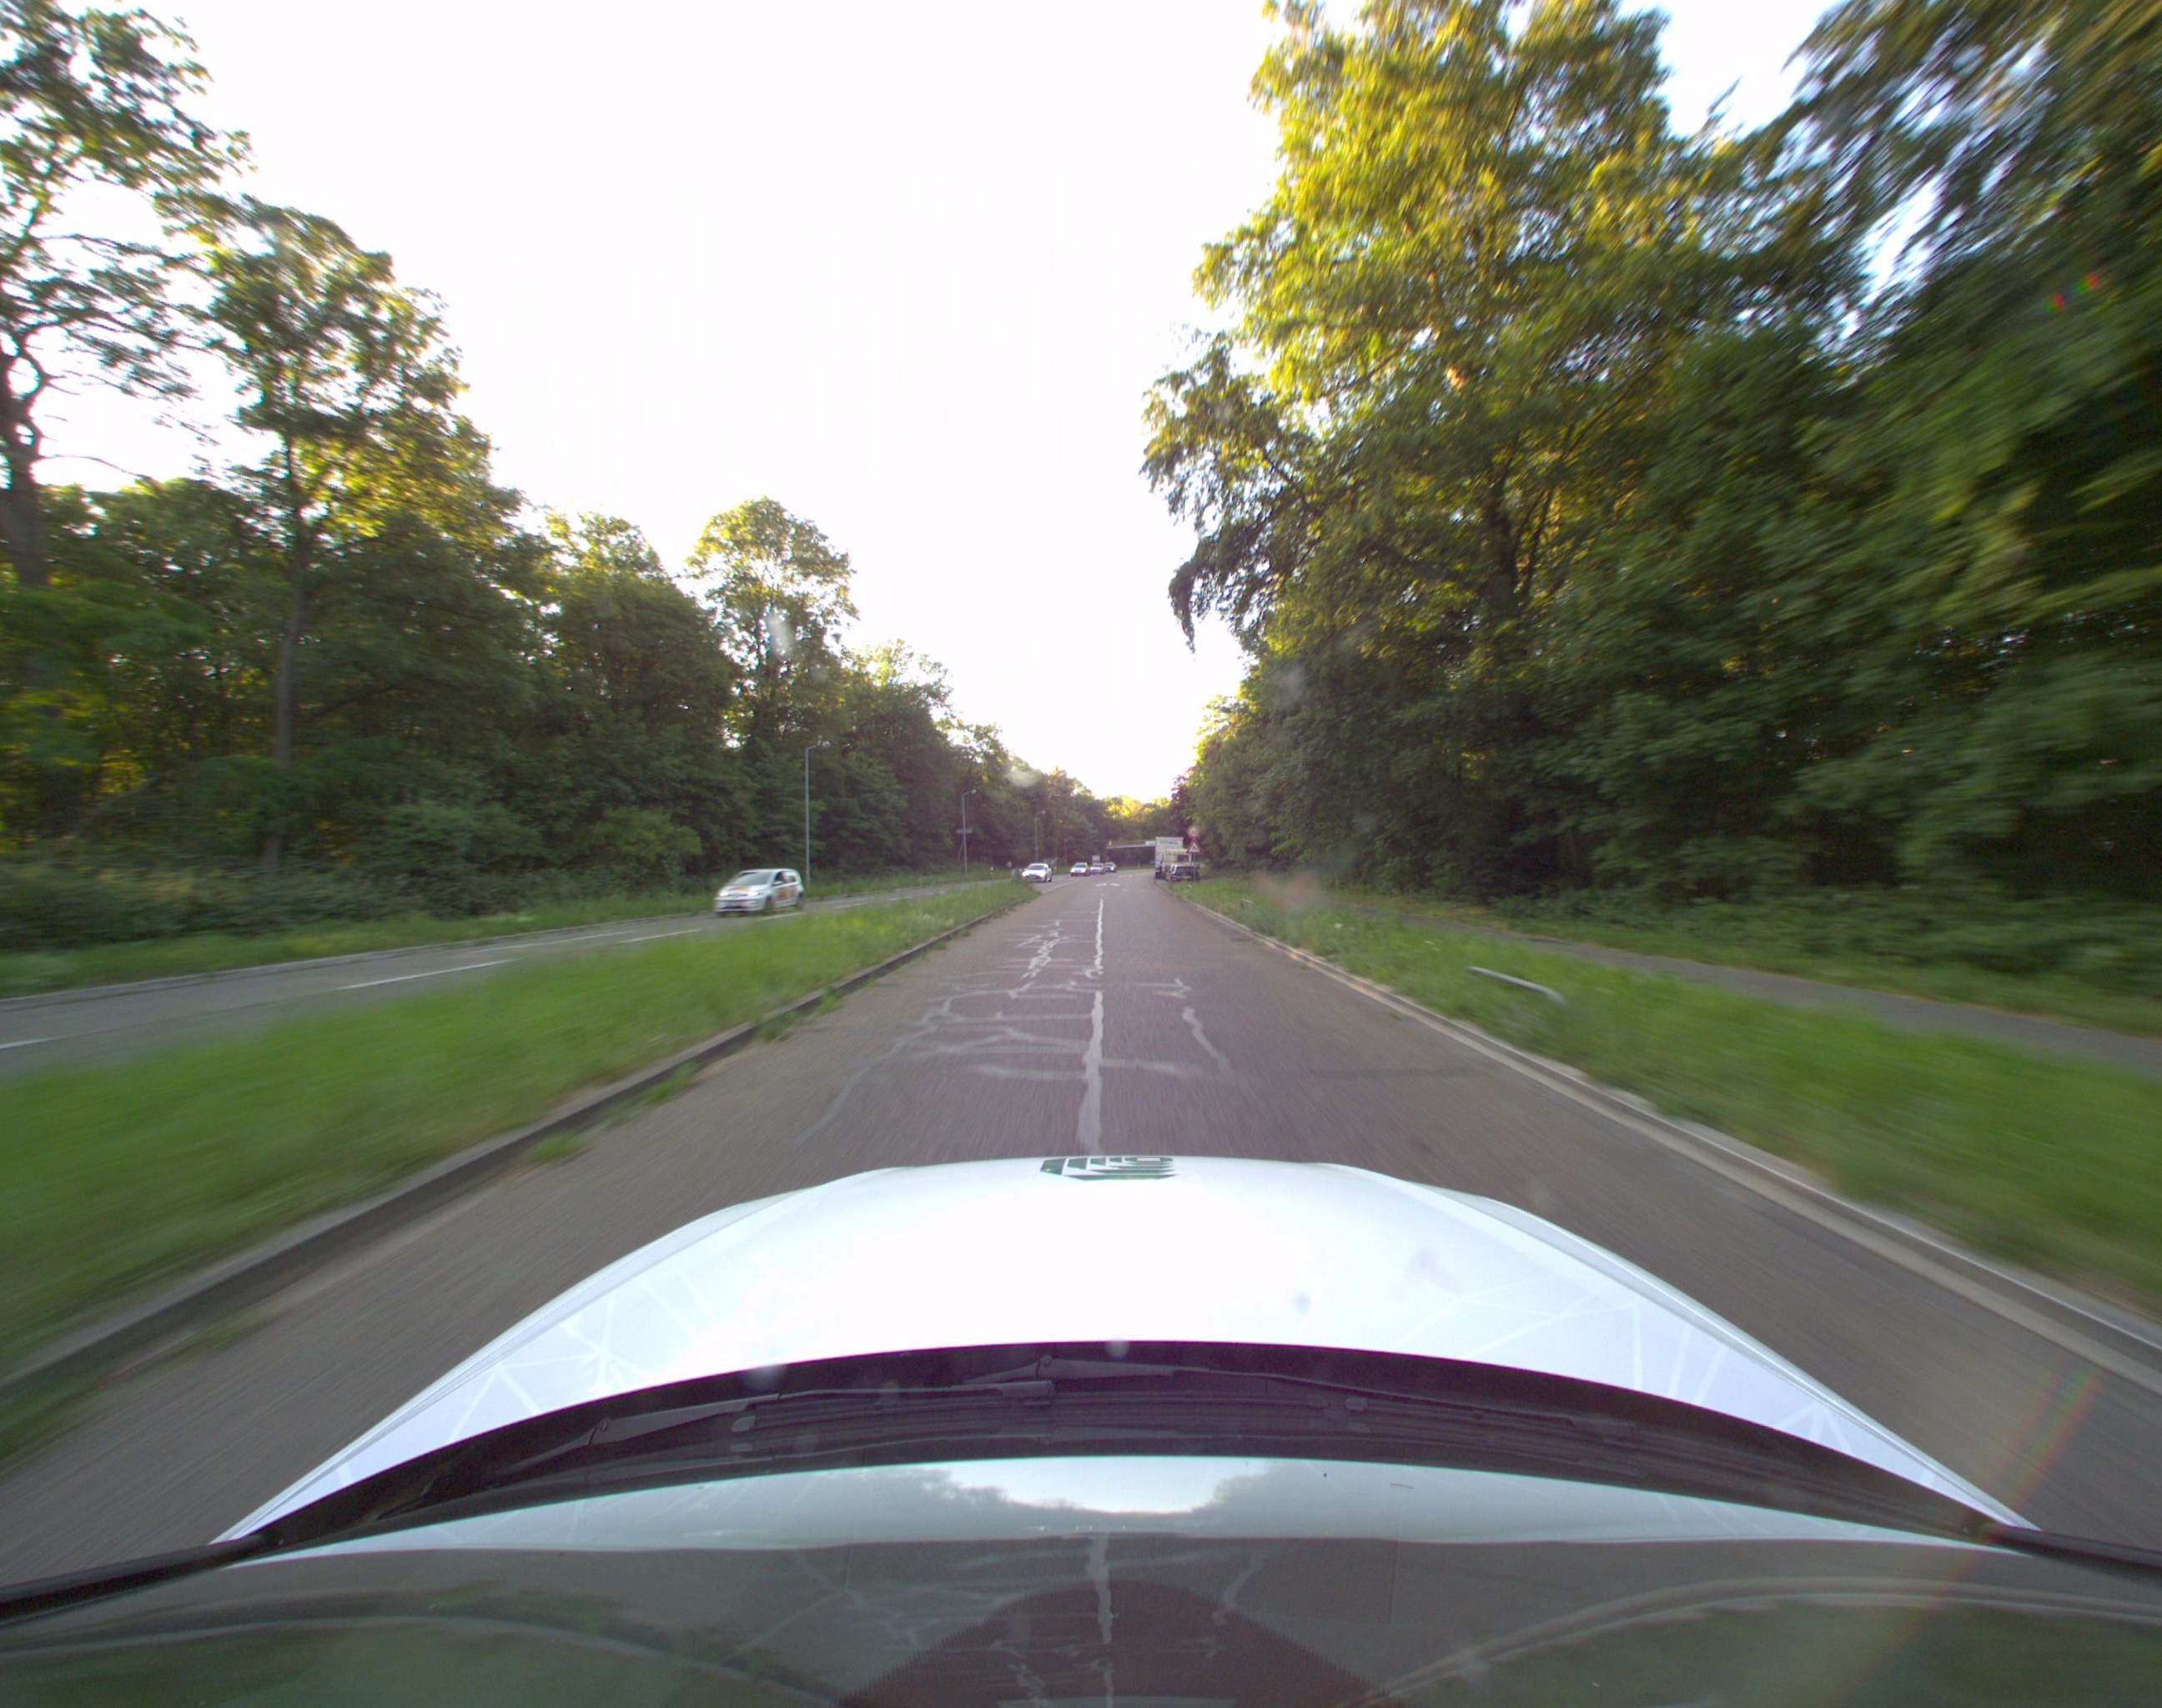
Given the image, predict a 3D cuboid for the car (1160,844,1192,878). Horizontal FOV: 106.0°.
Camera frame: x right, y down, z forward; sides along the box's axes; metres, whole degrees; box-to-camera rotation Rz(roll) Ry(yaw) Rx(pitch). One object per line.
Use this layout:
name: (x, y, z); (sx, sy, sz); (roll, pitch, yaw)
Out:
car: (8.363, 0.611, 72.275); (2.399, 2.858, 5.935); (0, -1, 2)

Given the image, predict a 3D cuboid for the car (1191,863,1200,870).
car: (24.611, 2.748, 174.795); (1.881, 1.447, 4.119); (-2, -1, 8)

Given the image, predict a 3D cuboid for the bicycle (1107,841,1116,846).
bicycle: (7.021, -2.419, 187.981); (1.832, 0.949, 0.552); (0, -1, 13)

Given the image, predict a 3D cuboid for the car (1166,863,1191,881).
car: (7.792, 1.441, 65.593); (1.691, 1.406, 4.078); (-1, -1, 2)

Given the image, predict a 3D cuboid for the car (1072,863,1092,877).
car: (0.119, 1.758, 89.818); (1.707, 1.446, 4.180); (-1, -1, 6)

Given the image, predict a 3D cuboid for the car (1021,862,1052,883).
car: (-3.434, 1.452, 63.622); (1.827, 1.507, 3.942); (-2, -2, 5)

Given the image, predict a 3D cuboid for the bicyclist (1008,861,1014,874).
bicyclist: (-8.218, 1.563, 95.326); (0.619, 1.511, 0.845); (-2, 0, -7)

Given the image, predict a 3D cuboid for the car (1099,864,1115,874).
car: (3.846, 2.182, 119.956); (1.881, 1.440, 4.779); (0, -1, 7)

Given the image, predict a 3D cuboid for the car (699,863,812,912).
car: (-10.630, 1.107, 26.928); (1.985, 1.458, 3.813); (-2, -2, 3)

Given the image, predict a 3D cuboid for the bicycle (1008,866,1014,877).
bicycle: (-8.215, 2.000, 95.409); (0.629, 1.217, 2.256); (-2, 0, -6)

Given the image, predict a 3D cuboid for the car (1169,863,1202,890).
car: (5.805, 1.211, 45.574); (1.656, 1.405, 3.946); (1, -1, 4)

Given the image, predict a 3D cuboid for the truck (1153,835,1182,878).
truck: (8.550, 0.273, 80.311); (2.644, 4.028, 9.737); (-1, -1, 6)

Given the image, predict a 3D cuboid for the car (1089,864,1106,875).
car: (2.139, 1.935, 102.281); (1.711, 1.397, 4.382); (-1, 0, 6)
